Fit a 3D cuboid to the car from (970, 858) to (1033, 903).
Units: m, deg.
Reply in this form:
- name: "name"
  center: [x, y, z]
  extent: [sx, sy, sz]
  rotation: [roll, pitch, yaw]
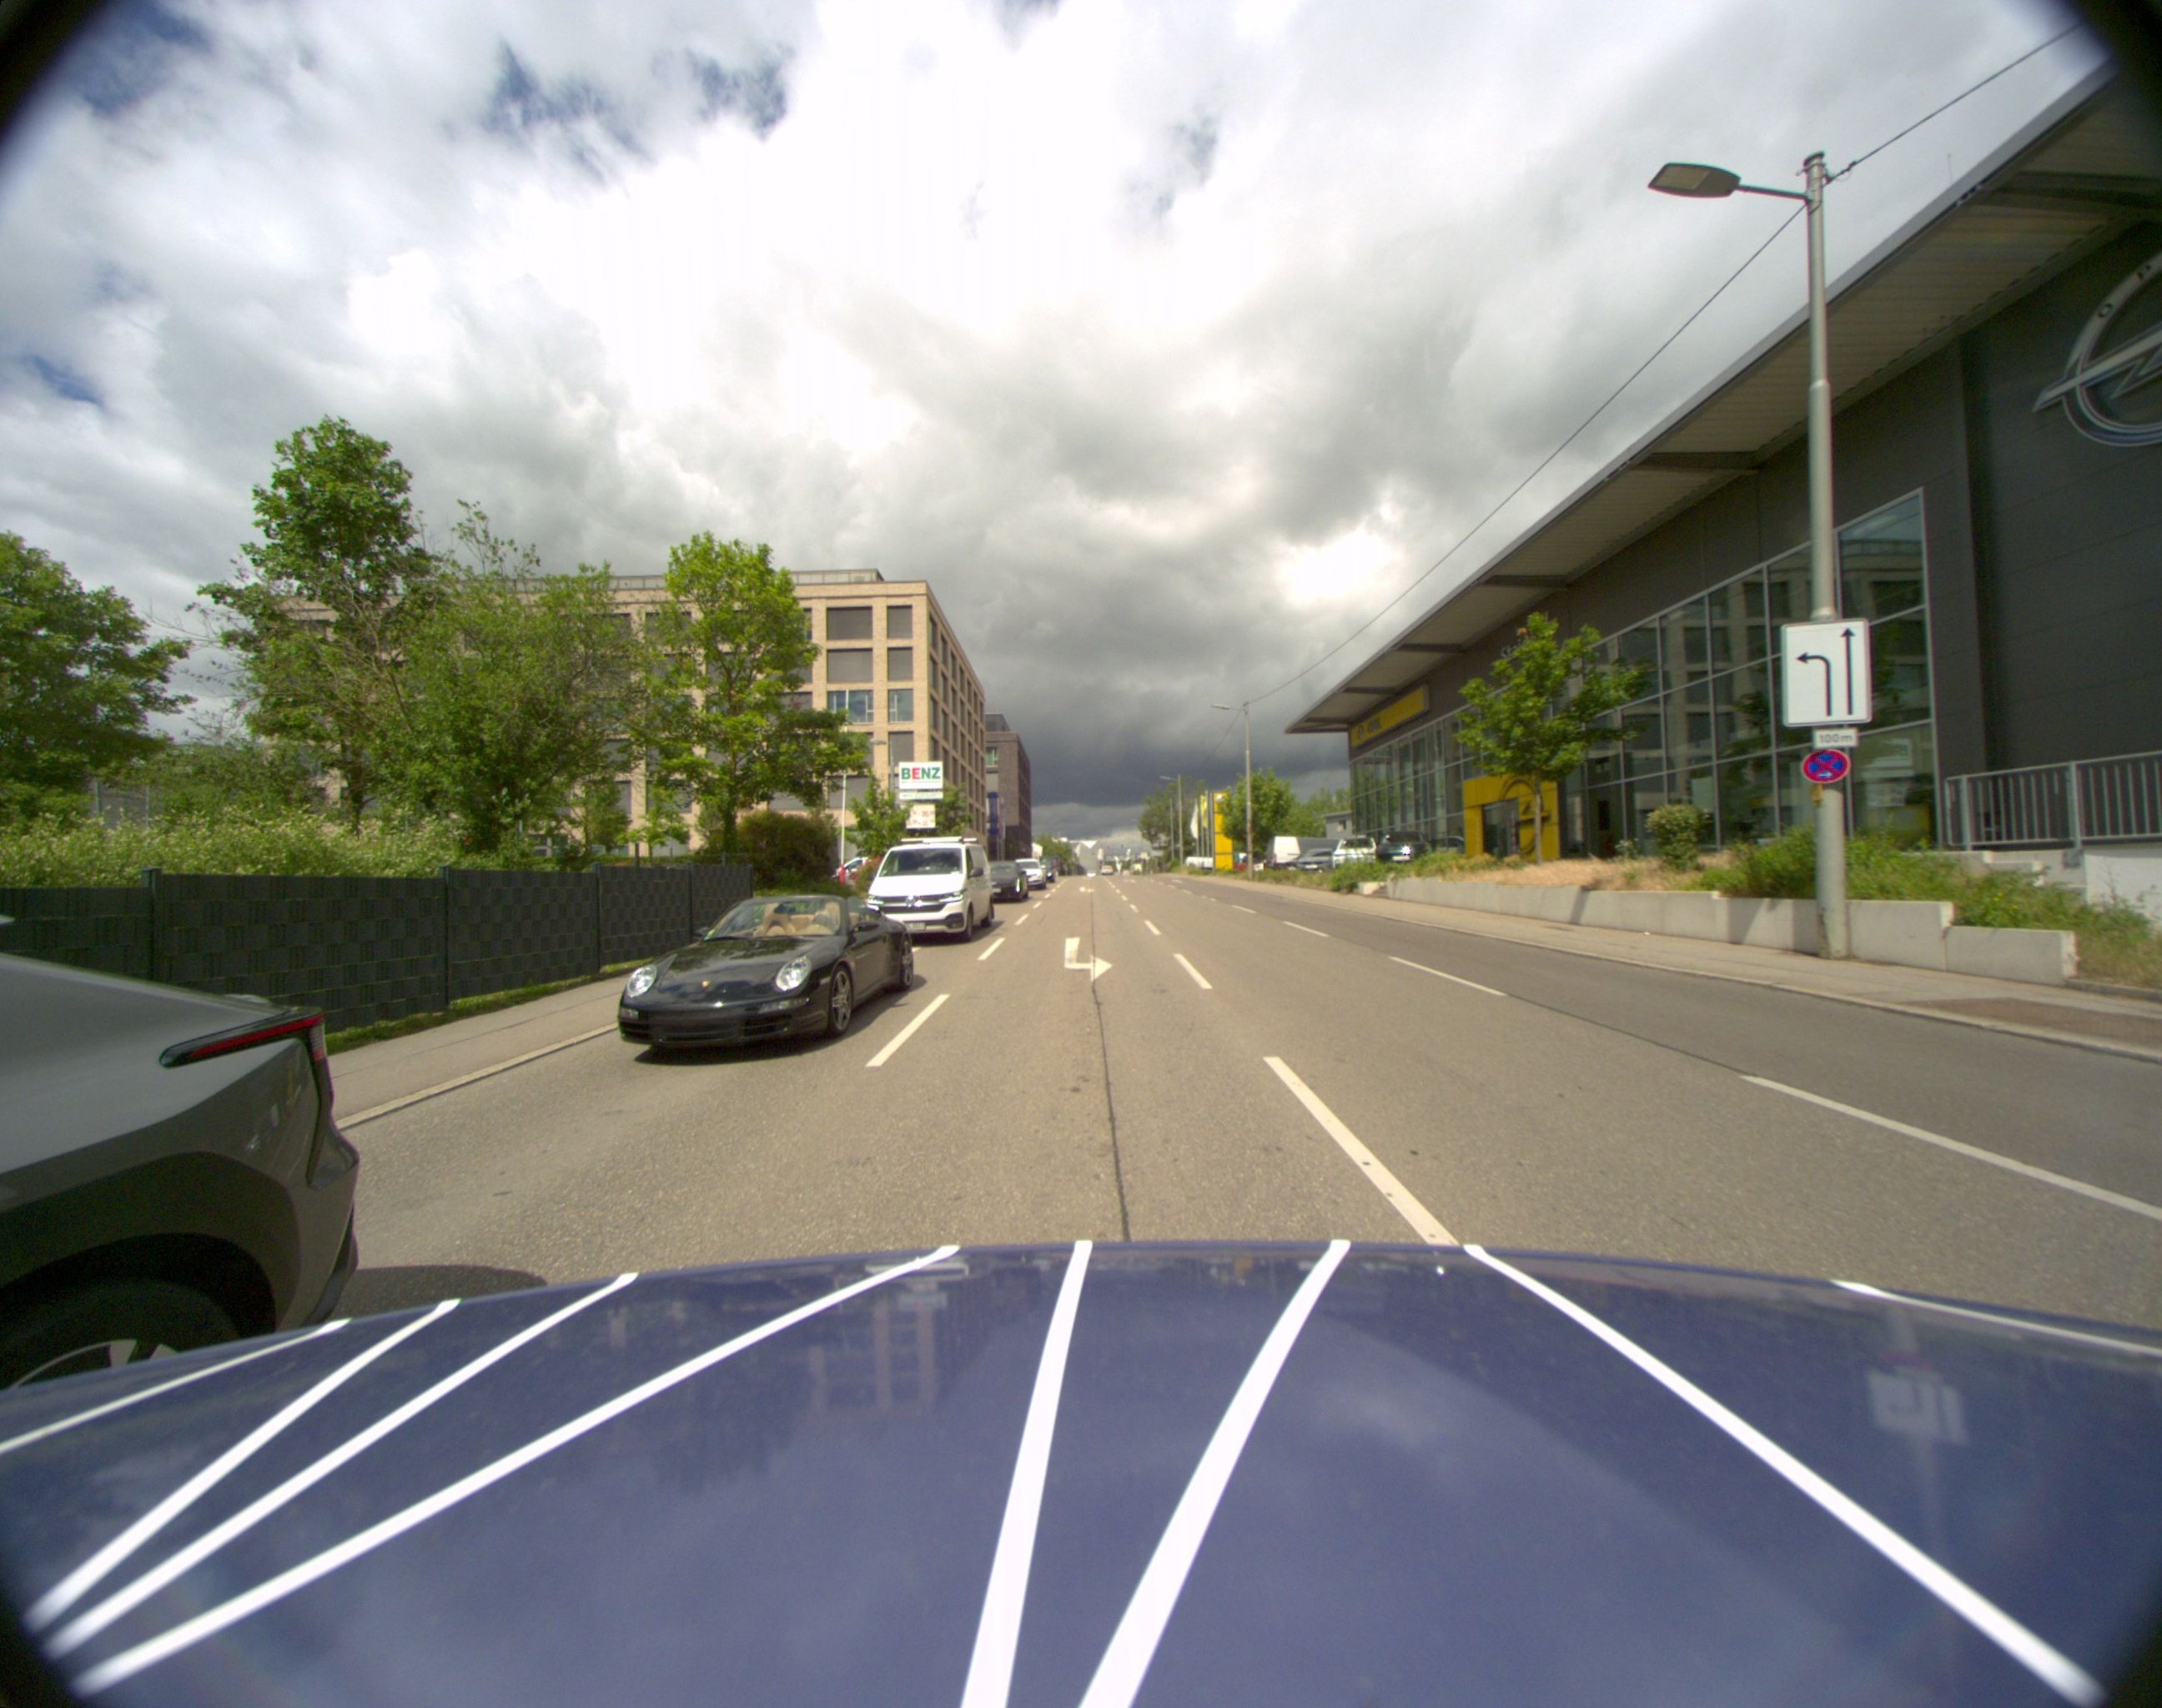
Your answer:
- name: "car"
  center: [-2.828, 0.911, 27.880]
  extent: [1.818, 1.454, 4.000]
  rotation: [-1, 0, 1]

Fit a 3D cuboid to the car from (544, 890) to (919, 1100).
- name: "car"
  center: [-3.038, 1.153, 7.684]
  extent: [1.824, 1.286, 4.038]
  rotation: [-2, 0, 1]

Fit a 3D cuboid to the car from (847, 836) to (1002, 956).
- name: "car"
  center: [-3.016, 0.732, 15.835]
  extent: [2.089, 2.037, 4.760]
  rotation: [-2, 0, 1]

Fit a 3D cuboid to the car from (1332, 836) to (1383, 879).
- name: "car"
  center: [12.168, 0.124, 33.433]
  extent: [1.995, 1.783, 4.006]
  rotation: [-1, 0, 21]

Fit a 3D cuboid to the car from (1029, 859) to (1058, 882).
- name: "car"
  center: [-2.486, 1.074, 50.833]
  extent: [1.662, 1.351, 4.000]
  rotation: [-1, 0, 1]

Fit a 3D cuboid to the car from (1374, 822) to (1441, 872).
- name: "car"
  center: [12.336, -0.257, 28.922]
  extent: [1.996, 1.718, 4.005]
  rotation: [-1, 0, 18]

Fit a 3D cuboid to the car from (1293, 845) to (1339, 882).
- name: "car"
  center: [12.107, 0.463, 39.006]
  extent: [1.995, 1.783, 4.006]
  rotation: [-1, 0, 21]

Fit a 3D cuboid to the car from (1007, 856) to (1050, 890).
- name: "car"
  center: [-2.592, 0.893, 38.421]
  extent: [1.818, 1.577, 4.000]
  rotation: [-1, 0, 1]

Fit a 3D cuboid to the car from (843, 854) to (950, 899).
- name: "car"
  center: [-7.629, 0.911, 31.717]
  extent: [3.998, 1.723, 1.822]
  rotation: [-1, 1, -3]

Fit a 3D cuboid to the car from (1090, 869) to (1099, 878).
- name: "car"
  center: [3.052, 4.281, 170.779]
  extent: [1.998, 1.819, 4.547]
  rotation: [-2, 0, 2]

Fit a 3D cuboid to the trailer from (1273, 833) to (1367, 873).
- name: "trailer"
  center: [14.451, -0.074, 46.166]
  extent: [5.074, 2.336, 2.000]
  rotation: [-1, 1, -1]

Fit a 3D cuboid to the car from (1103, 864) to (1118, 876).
- name: "car"
  center: [4.523, 2.470, 117.053]
  extent: [1.998, 1.731, 4.547]
  rotation: [-2, 0, 1]
